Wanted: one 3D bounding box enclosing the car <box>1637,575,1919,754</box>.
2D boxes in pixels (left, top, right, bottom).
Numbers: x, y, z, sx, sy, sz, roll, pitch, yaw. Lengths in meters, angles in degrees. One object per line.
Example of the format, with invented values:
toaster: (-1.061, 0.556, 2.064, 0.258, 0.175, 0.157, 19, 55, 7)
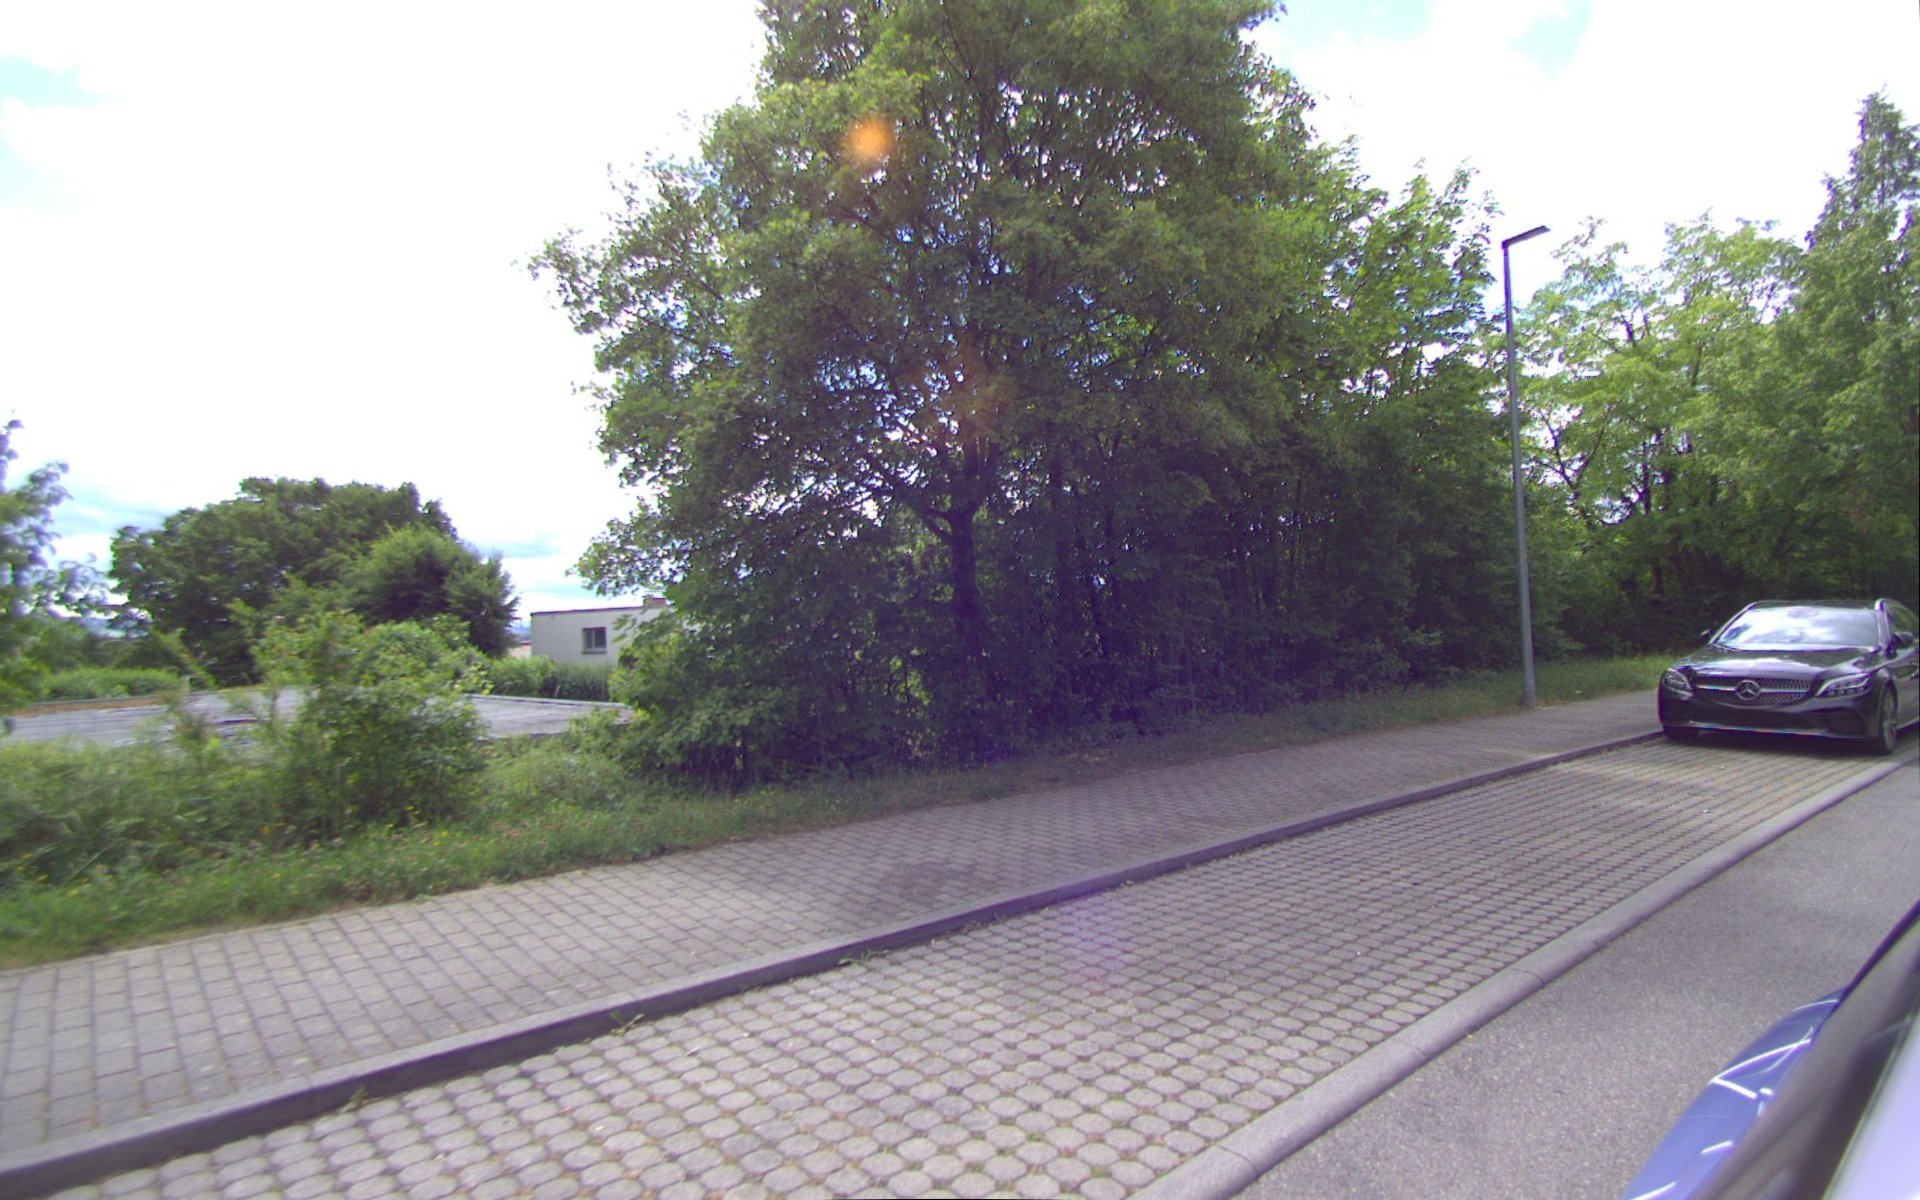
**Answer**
car: (9.278, 0.584, 10.875, 4.460, 1.550, 1.898, 0, -1, -36)
